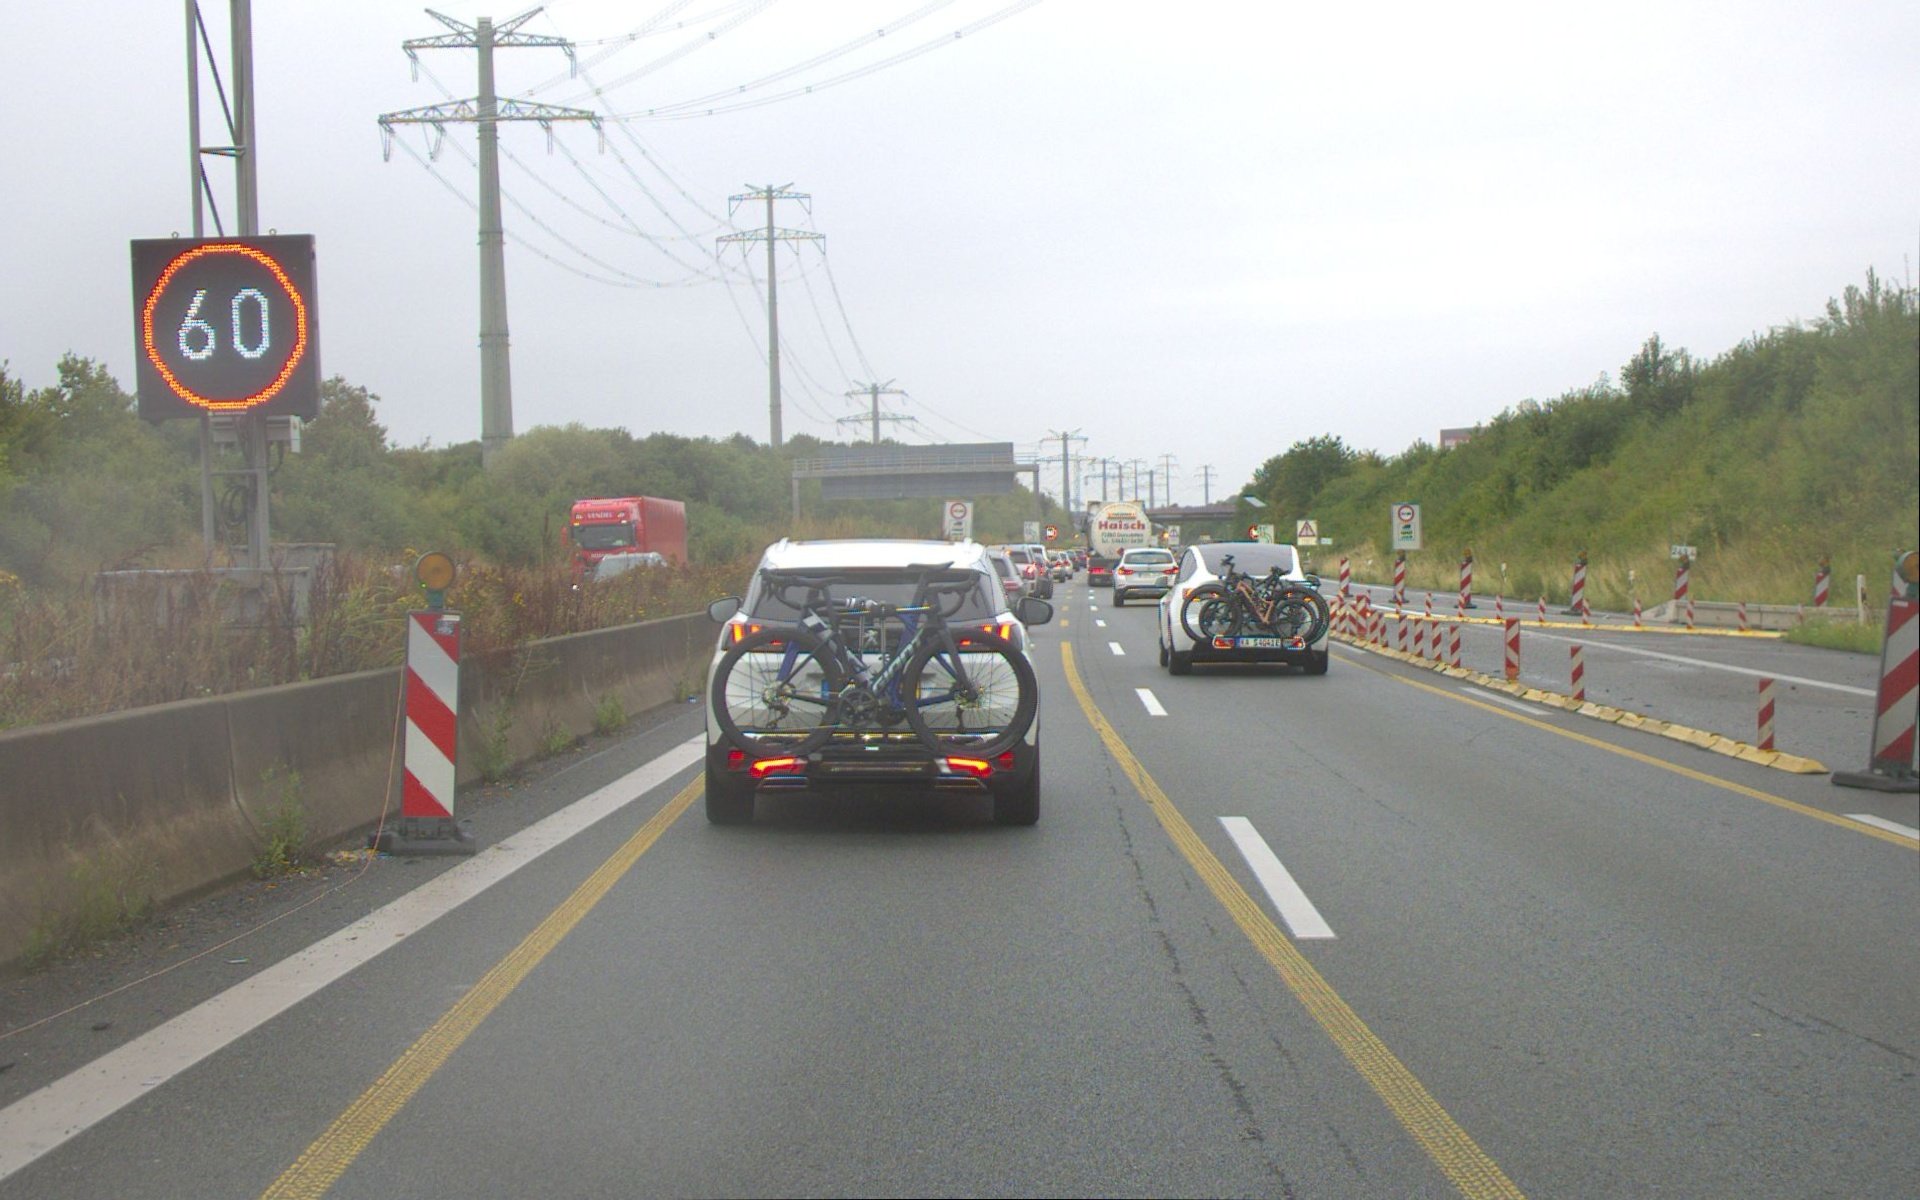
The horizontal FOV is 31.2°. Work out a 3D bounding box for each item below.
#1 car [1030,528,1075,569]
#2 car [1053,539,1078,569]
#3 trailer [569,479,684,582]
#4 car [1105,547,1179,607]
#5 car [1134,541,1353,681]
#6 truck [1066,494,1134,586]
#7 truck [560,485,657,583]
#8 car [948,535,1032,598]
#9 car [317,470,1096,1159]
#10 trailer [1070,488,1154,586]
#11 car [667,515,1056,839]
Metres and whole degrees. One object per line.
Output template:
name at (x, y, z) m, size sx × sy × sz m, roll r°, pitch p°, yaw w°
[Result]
car at (4.643, -2.593, 172.654) m, size 1.993 × 2.007 × 4.000 m, roll 1°, pitch 0°, yaw -2°
car at (7.032, -3.071, 228.787) m, size 1.654 × 2.007 × 4.000 m, roll 0°, pitch 1°, yaw 2°
trailer at (-12.978, -2.619, 135.000) m, size 3.037 × 3.801 × 13.978 m, roll 1°, pitch 0°, yaw 0°
car at (4.783, -0.629, 90.721) m, size 1.870 × 1.529 × 4.196 m, roll 0°, pitch 1°, yaw 2°
car at (3.419, 0.088, 42.556) m, size 2.045 × 1.590 × 5.802 m, roll 1°, pitch 1°, yaw -2°
truck at (6.026, -2.552, 148.437) m, size 2.644 × 3.877 × 4.030 m, roll 1°, pitch 0°, yaw -2°
truck at (-13.041, -2.421, 127.786) m, size 3.024 × 3.519 × 4.926 m, roll 1°, pitch 0°, yaw 0°
car at (0.740, -0.876, 88.019) m, size 1.993 × 1.578 × 4.000 m, roll 0°, pitch 1°, yaw -2°
car at (-0.664, 0.522, 11.011) m, size 1.993 × 1.754 × 4.000 m, roll -2°, pitch 1°, yaw 0°
trailer at (6.230, -2.521, 142.038) m, size 2.637 × 3.880 × 10.544 m, roll 1°, pitch 0°, yaw -2°
car at (-0.463, 0.346, 19.369) m, size 1.928 × 1.605 × 4.595 m, roll 0°, pitch 1°, yaw 1°
